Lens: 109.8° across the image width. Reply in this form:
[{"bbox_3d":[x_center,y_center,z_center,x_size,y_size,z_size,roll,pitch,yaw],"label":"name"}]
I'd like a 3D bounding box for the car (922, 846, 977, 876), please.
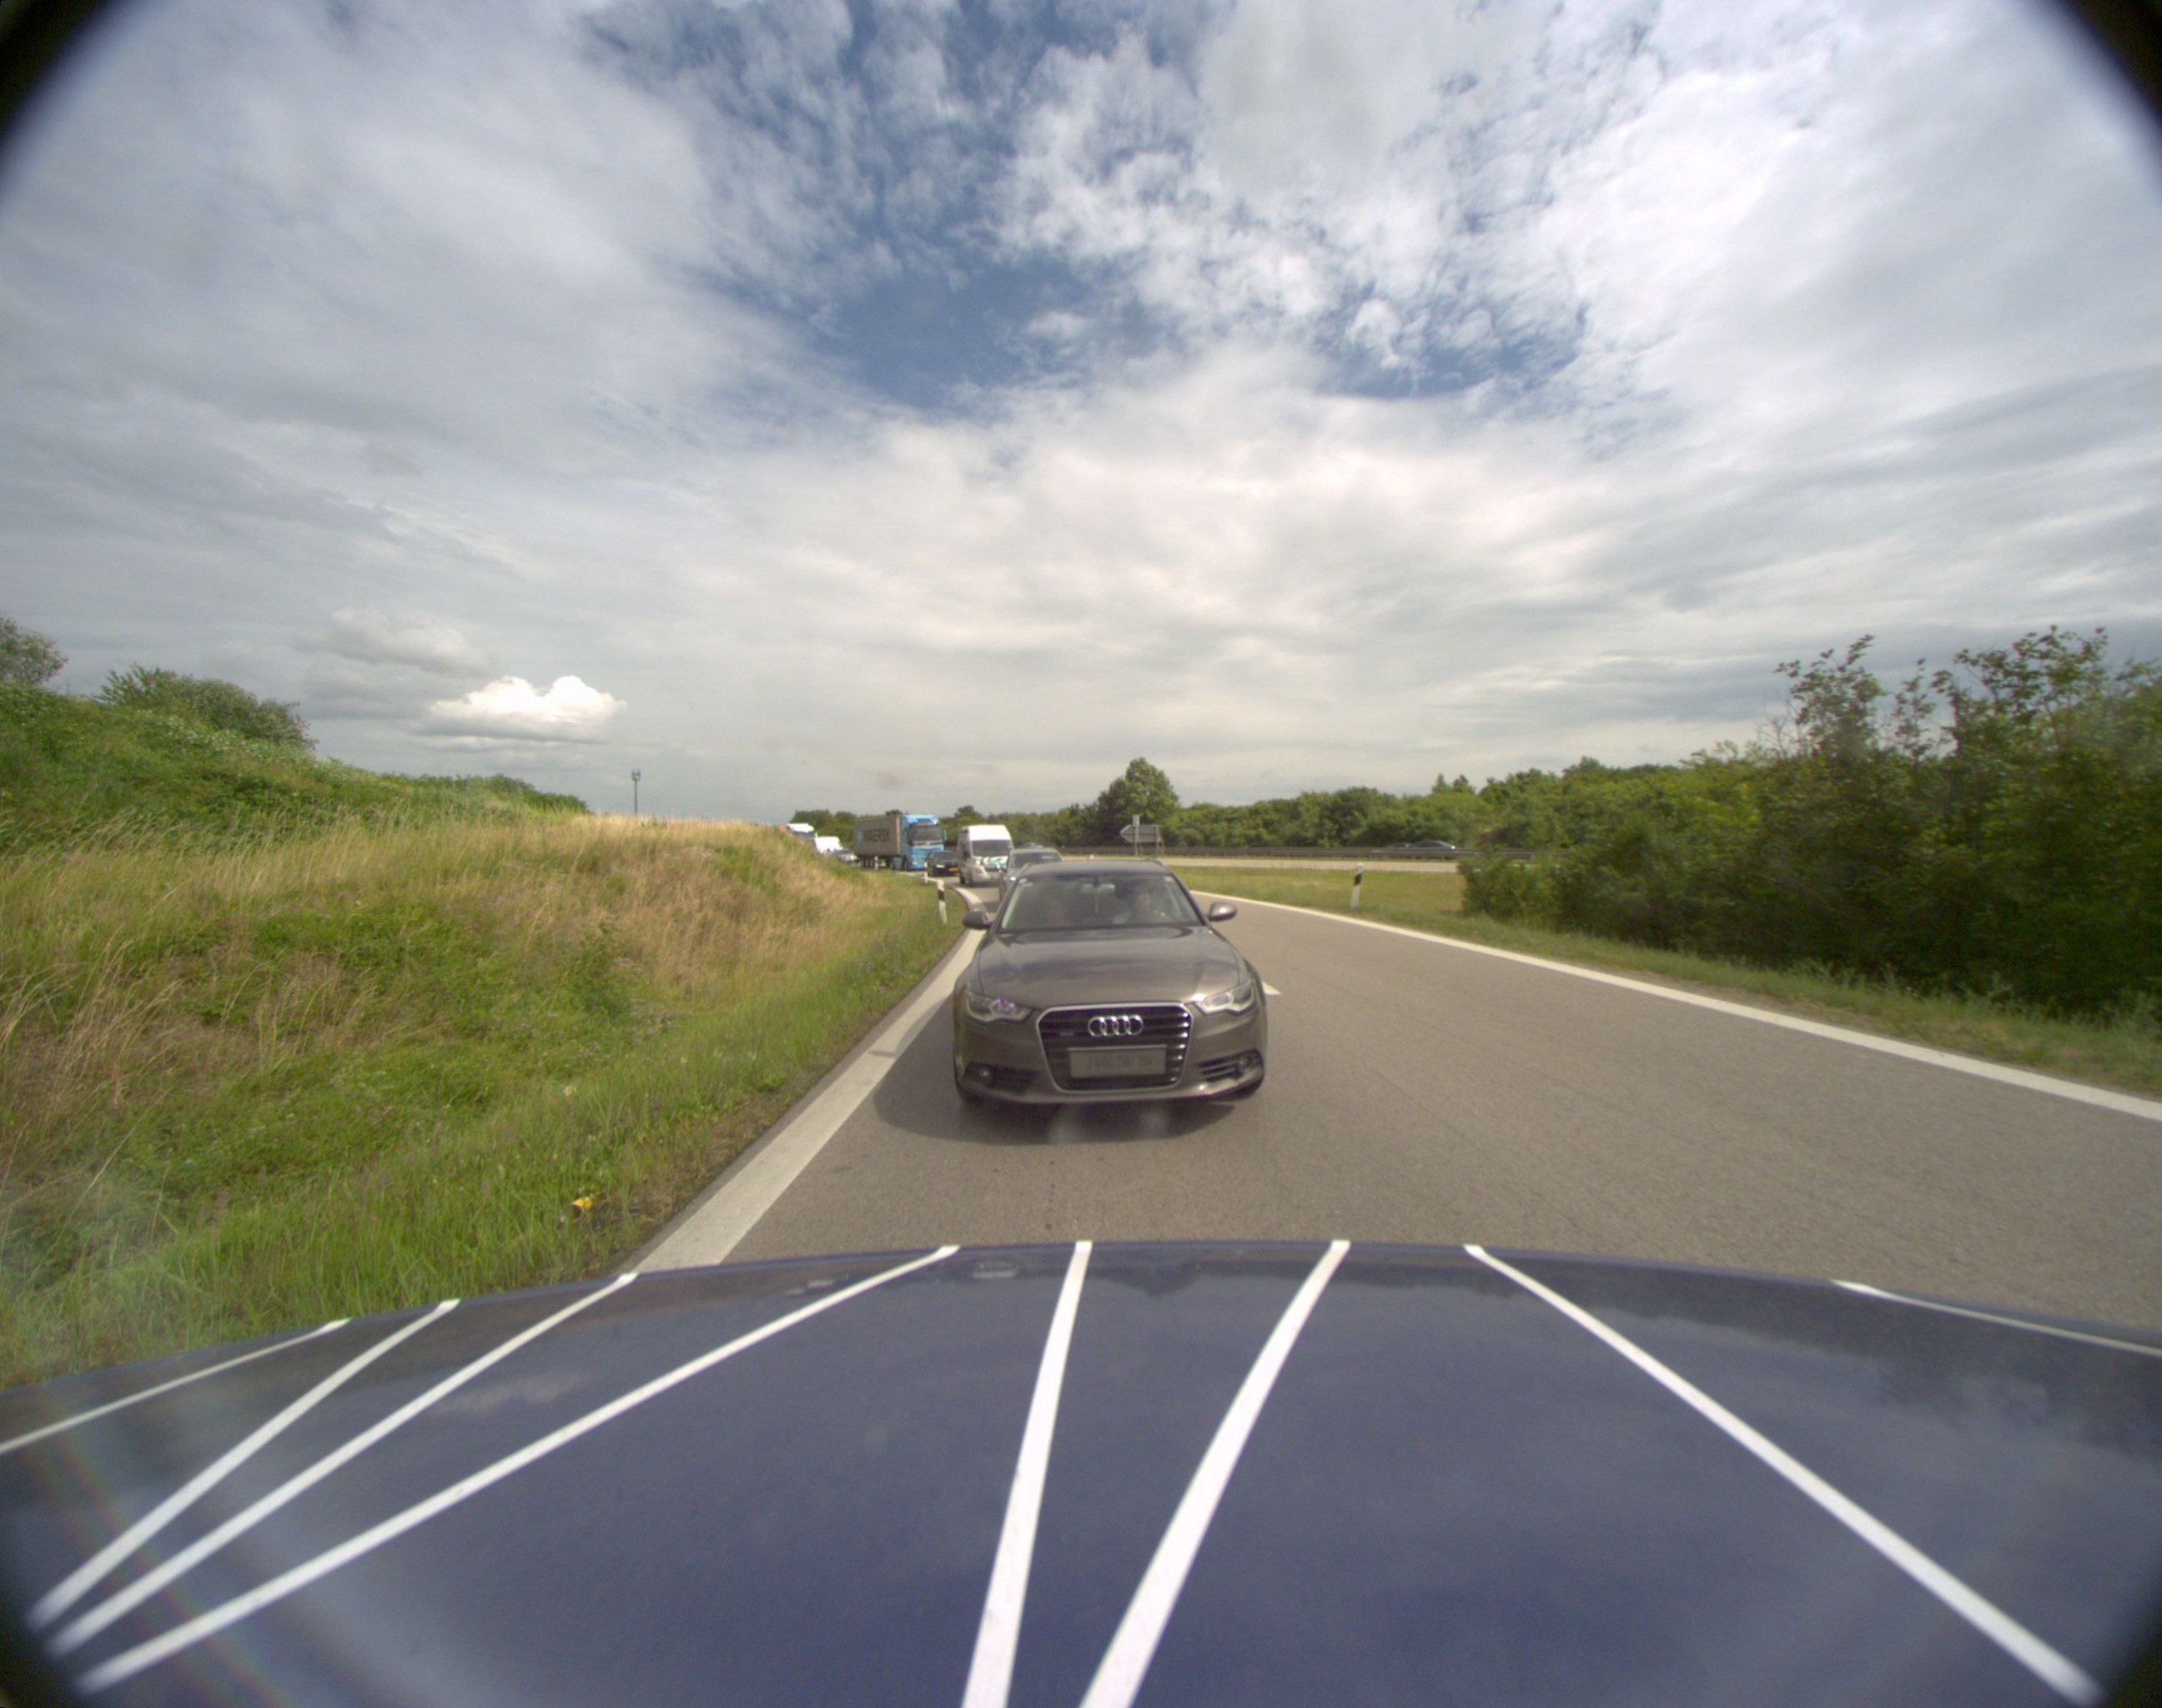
[{"bbox_3d":[-7.726,0.359,44.398,2.003,1.609,3.990,-2,2,-27],"label":"car"}]

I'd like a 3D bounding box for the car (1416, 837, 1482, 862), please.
[{"bbox_3d":[27.762,-0.354,57.380,4.072,1.716,2.004,2,2,44],"label":"car"}]

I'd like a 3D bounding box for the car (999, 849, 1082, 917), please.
[{"bbox_3d":[-1.215,0.707,20.904,1.844,1.587,4.169,-1,1,-9],"label":"car"}]

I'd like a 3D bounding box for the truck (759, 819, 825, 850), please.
[{"bbox_3d":[-32.810,-2.143,85.942,3.131,3.221,11.128,-3,2,-42],"label":"truck"}]

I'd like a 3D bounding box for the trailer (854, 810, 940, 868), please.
[{"bbox_3d":[-14.950,-1.115,60.863,3.280,4.138,11.988,-3,2,-30],"label":"trailer"}]

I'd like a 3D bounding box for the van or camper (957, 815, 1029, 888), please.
[{"bbox_3d":[-4.050,-0.139,33.989,2.400,2.892,5.713,-3,1,-14],"label":"van or camper"}]

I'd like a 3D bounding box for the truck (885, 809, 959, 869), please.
[{"bbox_3d":[-11.602,-1.056,54.988,3.184,4.050,6.631,-3,2,-29],"label":"truck"}]

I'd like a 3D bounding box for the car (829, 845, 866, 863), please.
[{"bbox_3d":[-21.693,-0.001,70.506,2.003,1.522,3.988,-3,3,-37],"label":"car"}]

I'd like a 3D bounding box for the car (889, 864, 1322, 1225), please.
[{"bbox_3d":[0.086,0.928,5.852,1.999,1.506,4.537,-2,1,-1],"label":"car"}]

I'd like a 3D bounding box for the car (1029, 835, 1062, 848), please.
[{"bbox_3d":[-4.387,-1.548,93.044,2.004,1.565,3.988,0,2,-42],"label":"car"}]

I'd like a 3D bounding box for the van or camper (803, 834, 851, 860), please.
[{"bbox_3d":[-25.243,-0.730,75.456,2.558,2.200,5.692,-4,6,-39],"label":"van or camper"}]
